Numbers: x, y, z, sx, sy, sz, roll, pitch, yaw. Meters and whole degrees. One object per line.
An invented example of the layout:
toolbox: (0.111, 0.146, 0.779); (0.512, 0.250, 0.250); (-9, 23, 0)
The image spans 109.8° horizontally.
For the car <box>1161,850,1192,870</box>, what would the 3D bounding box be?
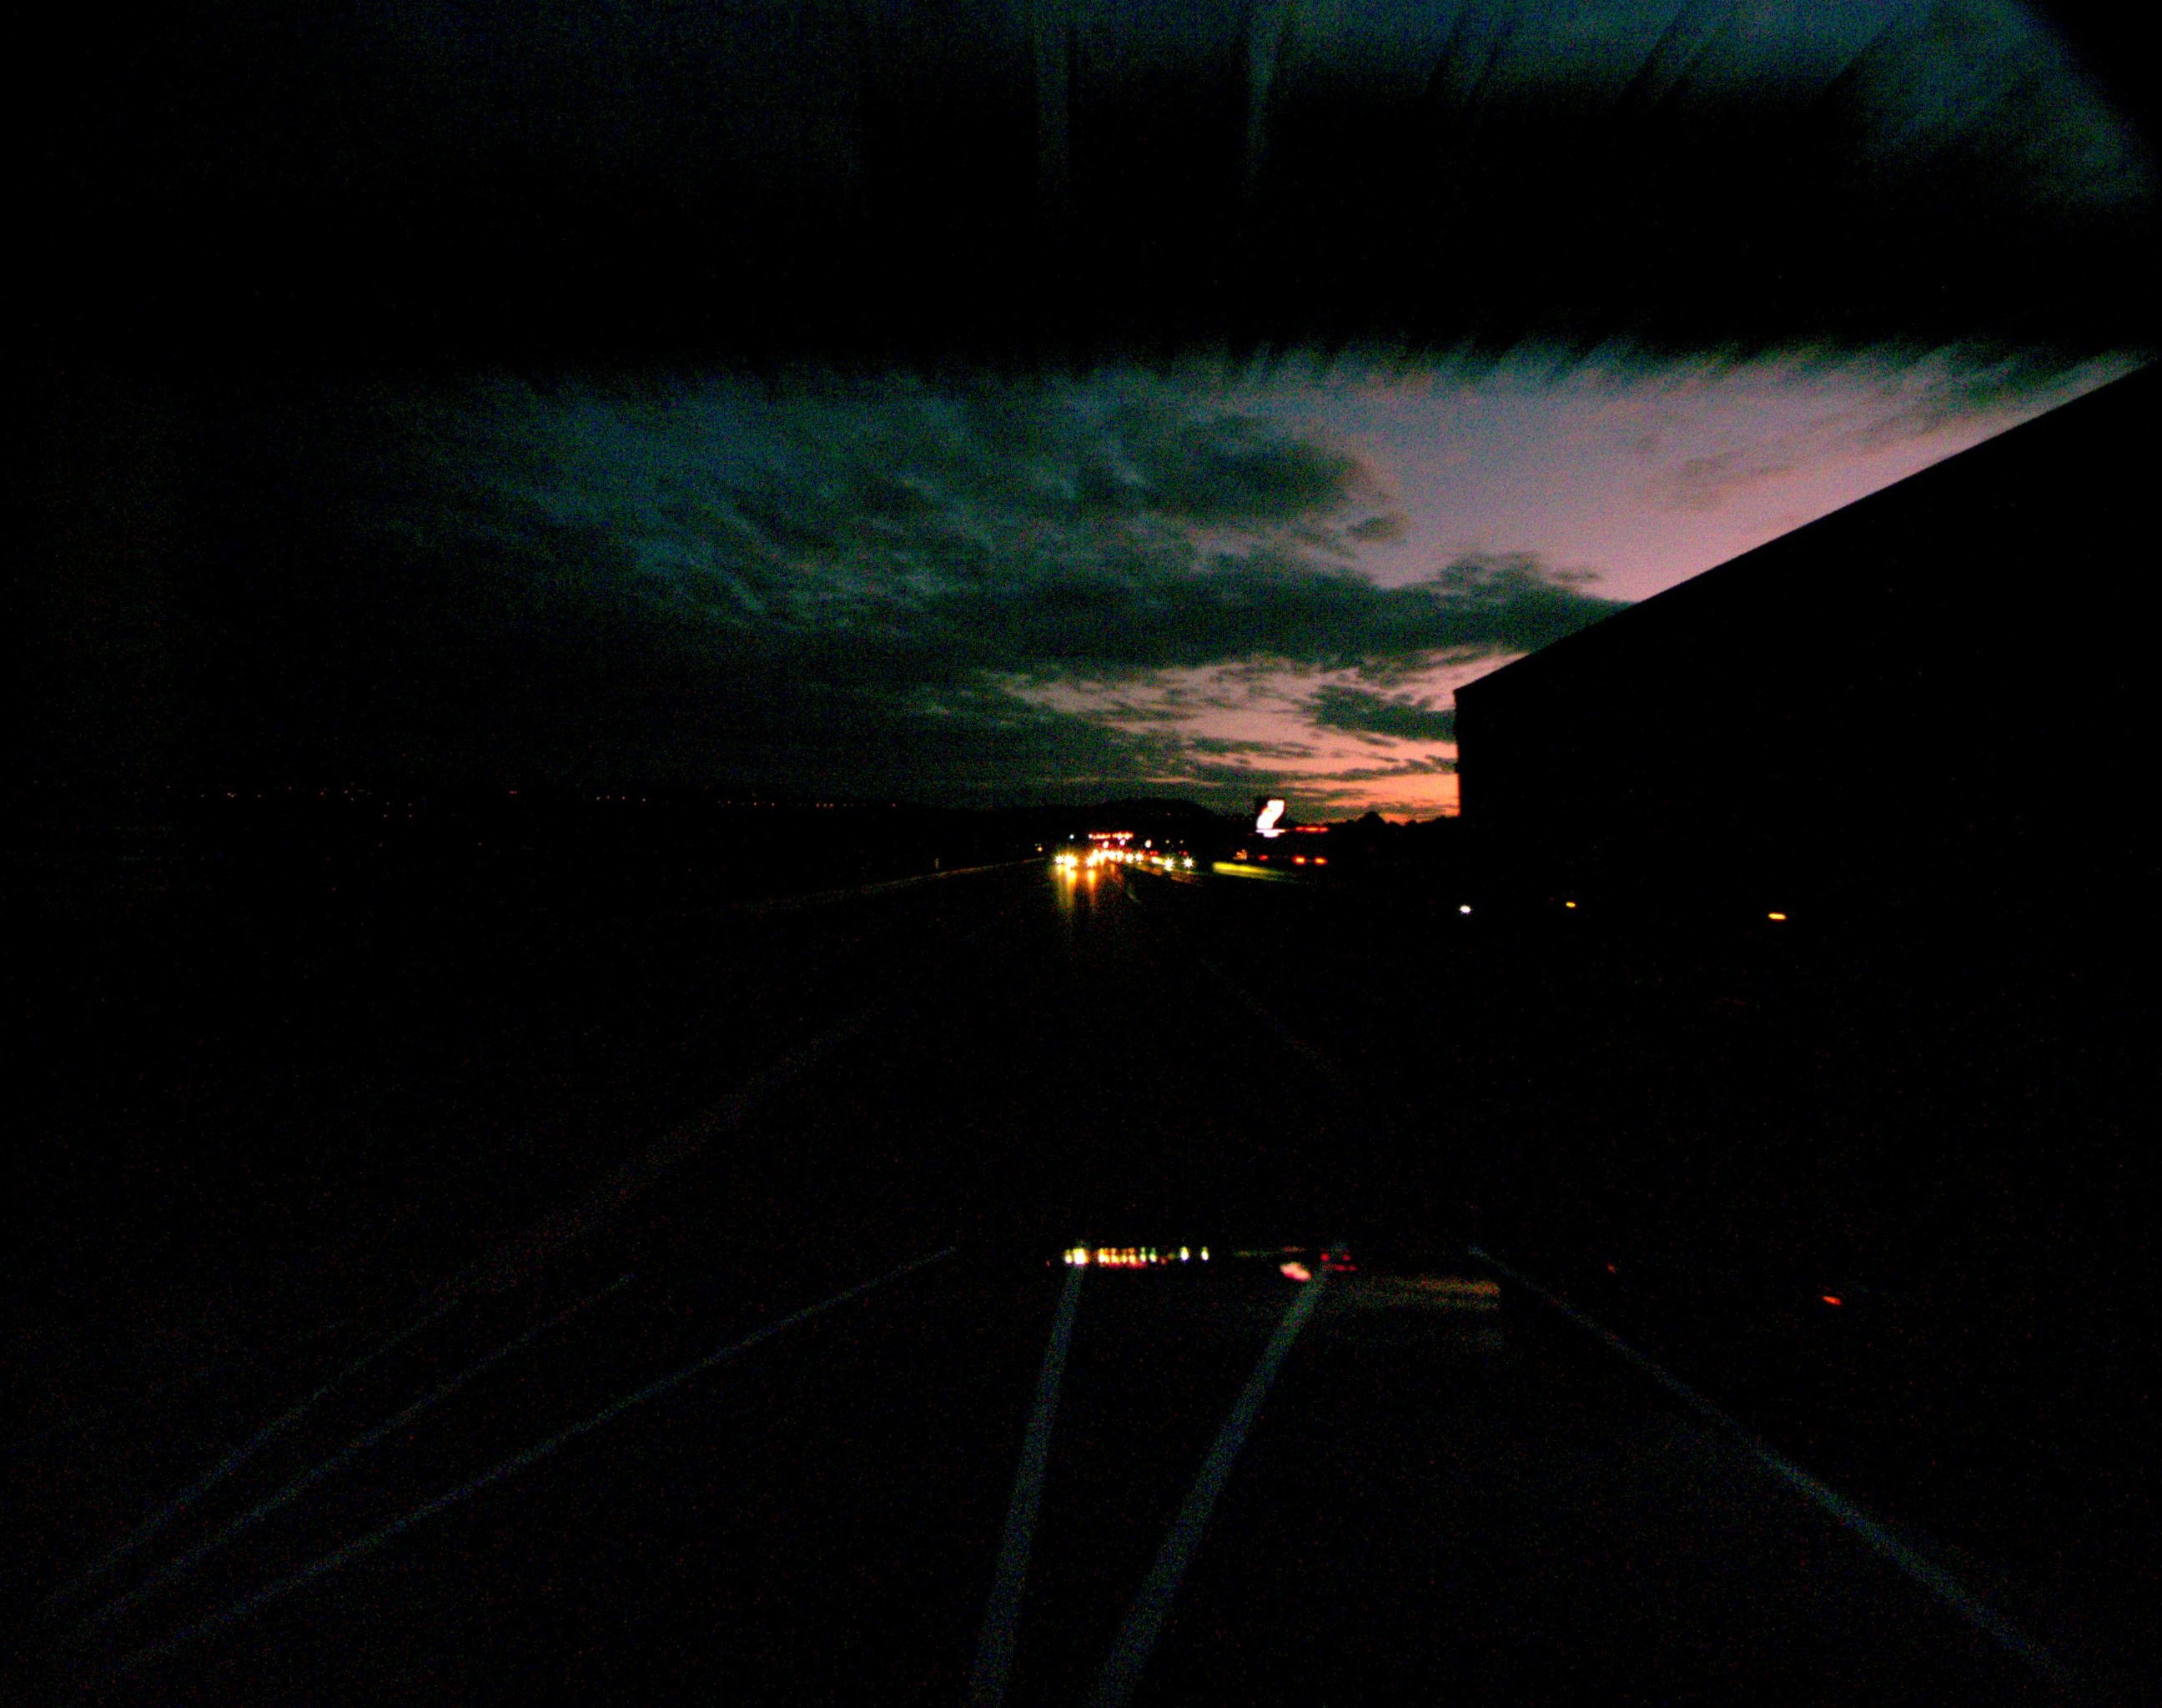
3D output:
car: (7.733, 0.450, 61.929); (1.819, 1.429, 5.394); (-2, 1, 0)

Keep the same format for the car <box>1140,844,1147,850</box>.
car: (21.190, -2.335, 255.891); (1.998, 2.002, 3.999); (-2, 1, 1)

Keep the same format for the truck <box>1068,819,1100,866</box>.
truck: (0.356, -1.102, 81.587); (3.012, 4.570, 12.577); (-2, 0, 0)

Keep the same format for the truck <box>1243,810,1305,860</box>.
truck: (24.372, -2.358, 96.797); (5.332, 5.757, 9.643); (-2, 1, 1)

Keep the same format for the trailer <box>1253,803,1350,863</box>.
trailer: (24.199, -2.232, 85.411); (5.317, 5.752, 19.211); (-2, 1, 1)

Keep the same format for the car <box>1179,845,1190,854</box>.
car: (24.792, -1.037, 181.994); (1.998, 2.002, 3.999); (-2, 1, 1)

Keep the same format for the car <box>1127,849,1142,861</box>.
car: (8.035, 0.139, 114.588); (1.819, 1.638, 4.856); (-2, 1, 0)

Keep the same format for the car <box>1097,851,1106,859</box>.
car: (4.288, 0.253, 160.484); (1.802, 1.531, 4.159); (-2, 1, 0)

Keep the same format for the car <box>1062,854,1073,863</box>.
car: (-2.017, 0.723, 114.321); (1.513, 1.247, 3.999); (-2, 1, 1)

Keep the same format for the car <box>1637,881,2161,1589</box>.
car: (3.259, 0.910, 0.968); (1.727, 1.463, 4.726); (-2, 1, 2)

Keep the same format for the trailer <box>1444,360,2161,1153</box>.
trailer: (6.946, -0.518, 4.524); (2.801, 4.061, 14.524); (-1, 1, 1)

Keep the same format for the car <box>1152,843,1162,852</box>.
car: (17.989, -1.447, 179.342); (1.998, 2.002, 3.999); (-2, 1, 1)
